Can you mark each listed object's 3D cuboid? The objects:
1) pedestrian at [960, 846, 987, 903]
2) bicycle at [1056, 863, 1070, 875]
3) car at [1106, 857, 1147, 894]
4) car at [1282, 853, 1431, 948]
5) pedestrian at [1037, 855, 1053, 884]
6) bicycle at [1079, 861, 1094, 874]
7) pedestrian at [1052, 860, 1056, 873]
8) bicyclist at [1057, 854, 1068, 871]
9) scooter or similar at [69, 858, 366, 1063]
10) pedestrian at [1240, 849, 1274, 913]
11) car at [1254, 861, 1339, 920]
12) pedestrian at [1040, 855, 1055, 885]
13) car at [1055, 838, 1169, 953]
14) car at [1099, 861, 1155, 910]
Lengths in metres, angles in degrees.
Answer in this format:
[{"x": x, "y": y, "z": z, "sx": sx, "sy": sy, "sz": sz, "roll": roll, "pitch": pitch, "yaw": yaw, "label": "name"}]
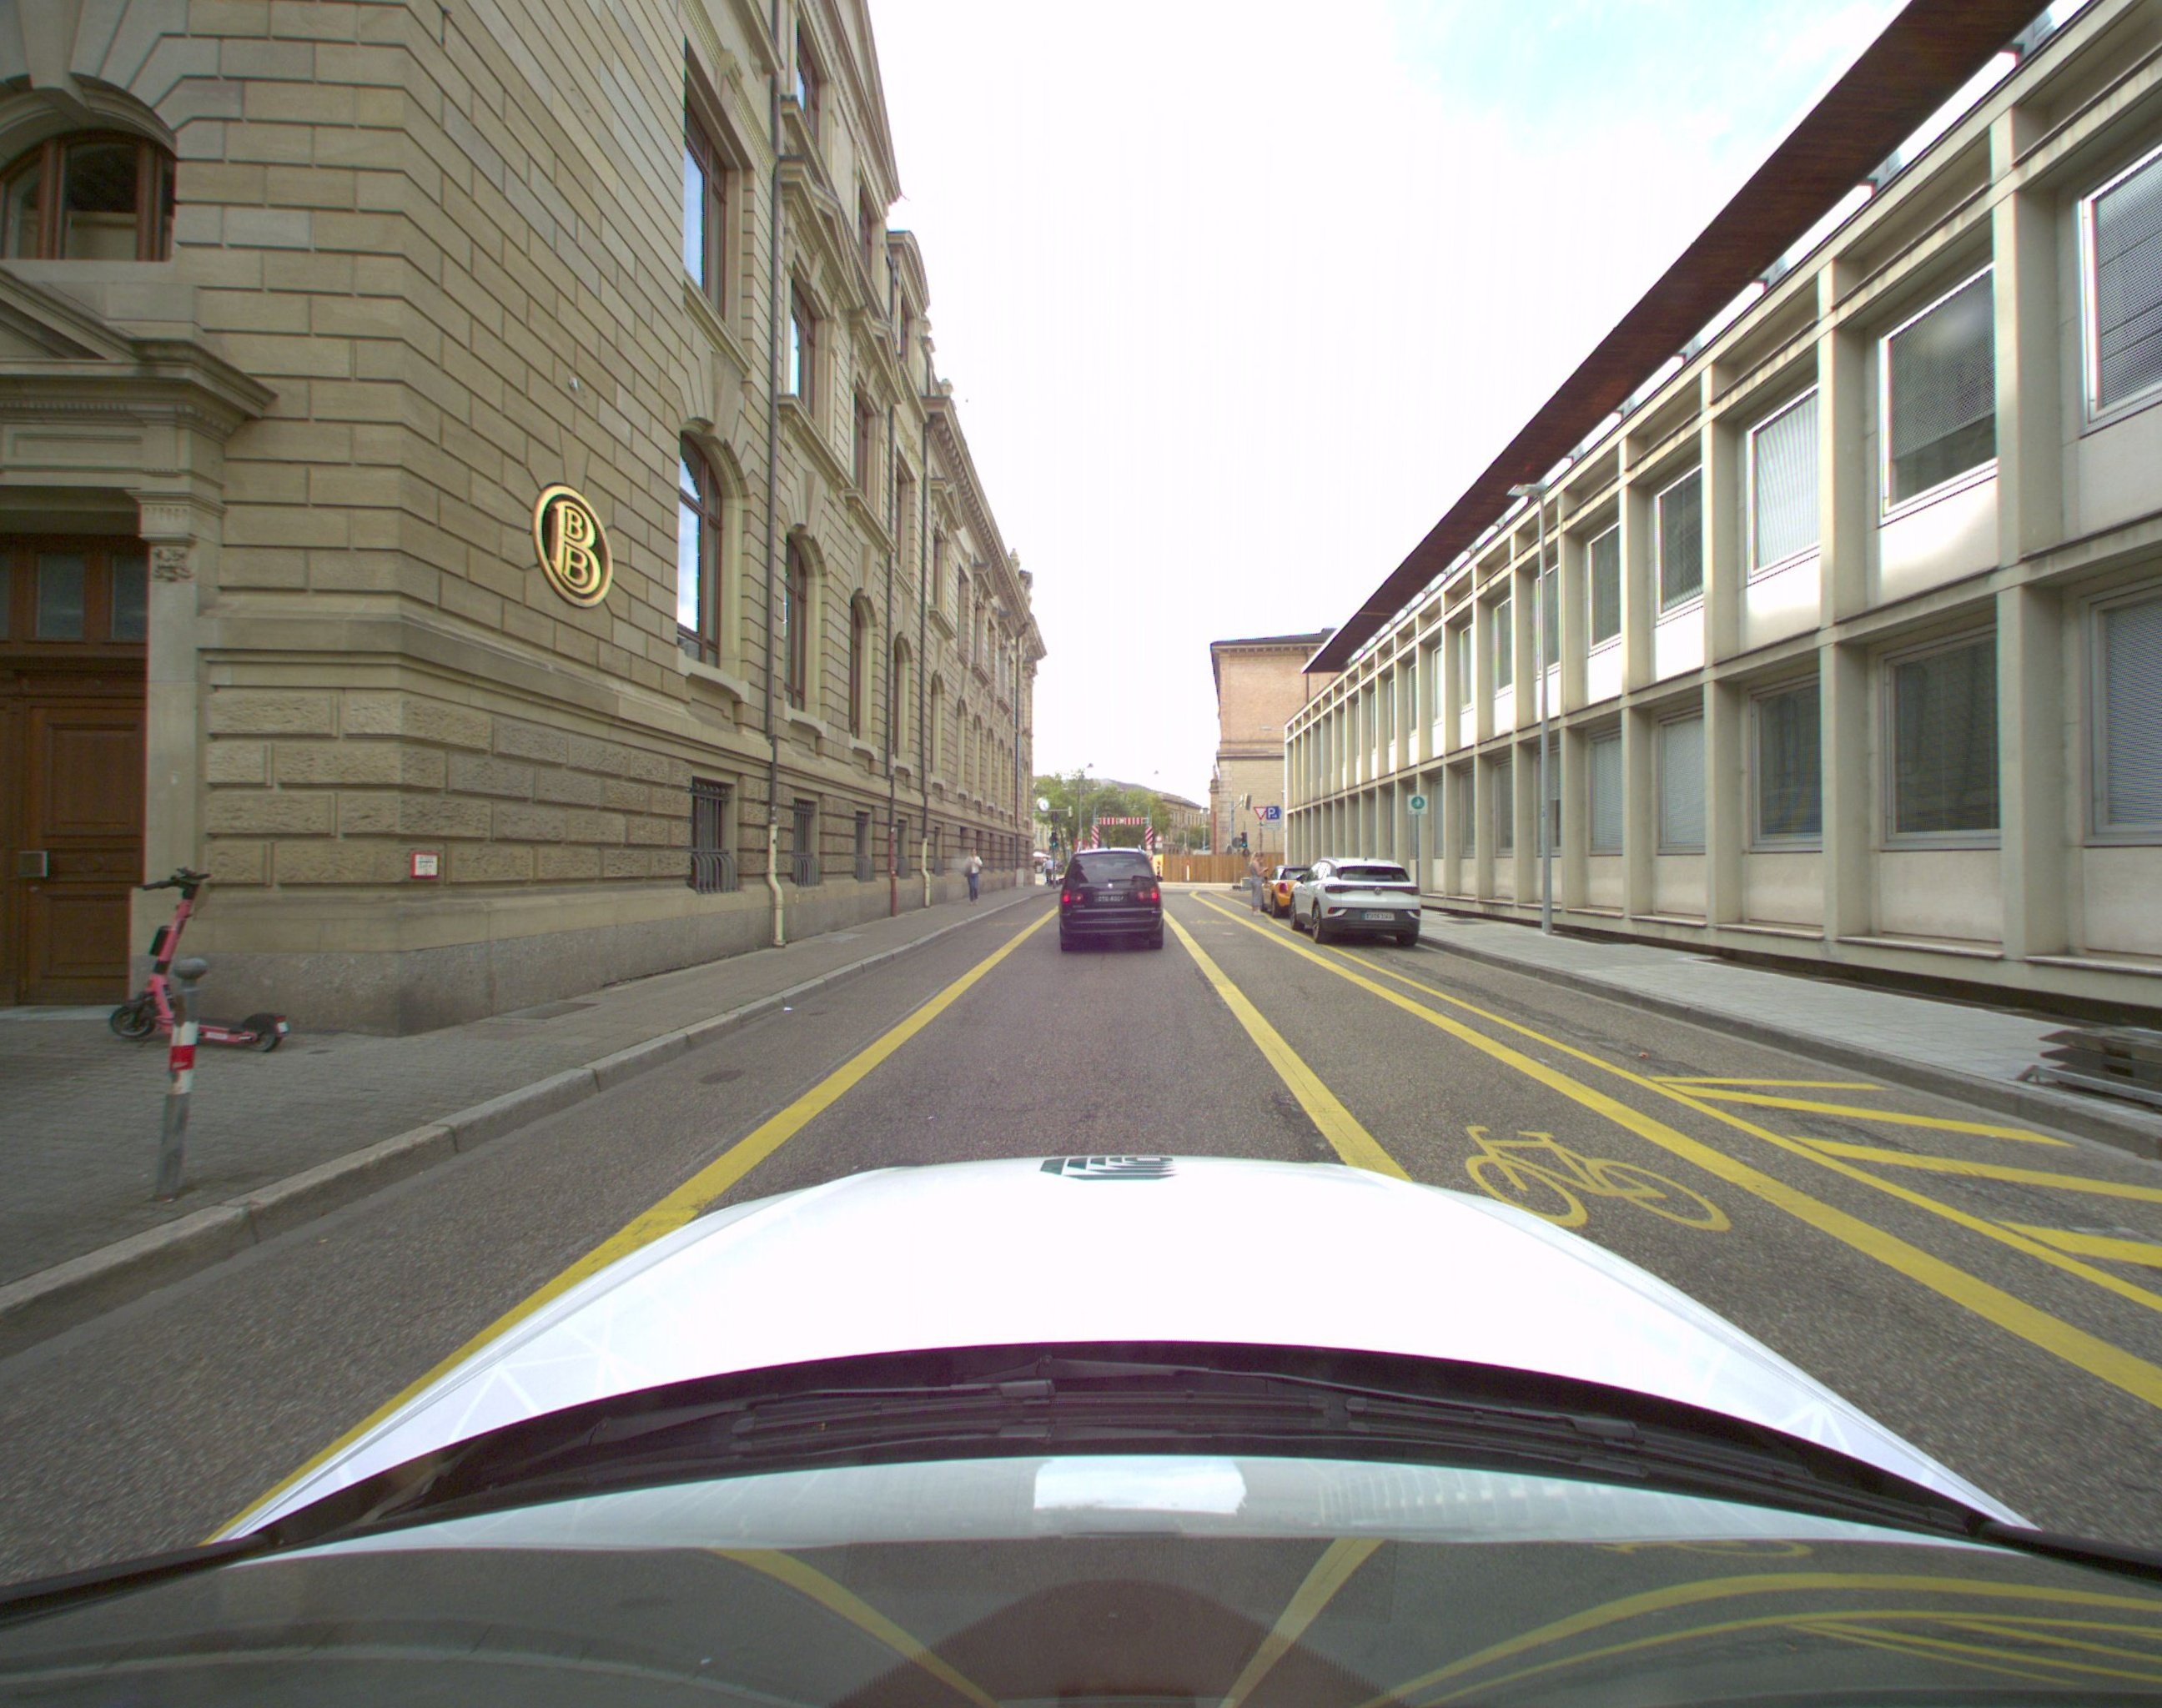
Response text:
[{"x": -3.514, "y": 0.667, "z": 26.661, "sx": 0.661, "sy": 1.820, "sz": 1.048, "roll": 2, "pitch": -1, "yaw": 2, "label": "pedestrian"}, {"x": -1.636, "y": 1.331, "z": 72.181, "sx": 0.736, "sy": 1.009, "sz": 2.057, "roll": 0, "pitch": -1, "yaw": -16, "label": "bicycle"}, {"x": 2.079, "y": 0.963, "z": 37.609, "sx": 1.766, "sy": 1.586, "sz": 4.002, "roll": 0, "pitch": -1, "yaw": 2, "label": "car"}, {"x": 5.382, "y": 0.834, "z": 16.528, "sx": 1.851, "sy": 1.605, "sz": 4.518, "roll": 1, "pitch": 0, "yaw": 5, "label": "car"}, {"x": -2.364, "y": 1.007, "z": 53.143, "sx": 0.793, "sy": 1.820, "sz": 1.042, "roll": 2, "pitch": -1, "yaw": -16, "label": "pedestrian"}, {"x": 0.437, "y": 1.094, "z": 64.736, "sx": 0.736, "sy": 1.009, "sz": 2.059, "roll": 0, "pitch": -1, "yaw": -13, "label": "bicycle"}, {"x": -4.159, "y": 1.934, "z": 124.854, "sx": 0.586, "sy": 2.014, "sz": 0.683, "roll": 0, "pitch": -1, "yaw": -14, "label": "pedestrian"}, {"x": -1.645, "y": 0.748, "z": 72.215, "sx": 0.737, "sy": 1.470, "sz": 0.804, "roll": 0, "pitch": -1, "yaw": -17, "label": "bicyclist"}, {"x": -6.115, "y": 0.720, "z": 5.815, "sx": 1.441, "sy": 1.310, "sz": 0.587, "roll": 3, "pitch": 0, "yaw": 1, "label": "scooter or similar"}, {"x": 4.914, "y": 0.749, "z": 22.729, "sx": 0.691, "sy": 1.764, "sz": 0.710, "roll": -1, "pitch": -1, "yaw": 35, "label": "pedestrian"}, {"x": 6.009, "y": 0.970, "z": 23.093, "sx": 1.672, "sy": 1.435, "sz": 3.892, "roll": 3, "pitch": -1, "yaw": 5, "label": "car"}, {"x": -2.046, "y": 1.004, "z": 50.154, "sx": 0.789, "sy": 1.820, "sz": 1.048, "roll": 2, "pitch": -1, "yaw": 2, "label": "pedestrian"}, {"x": 0.669, "y": 0.701, "z": 15.046, "sx": 1.781, "sy": 1.790, "sz": 4.108, "roll": -2, "pitch": -1, "yaw": 5, "label": "car"}, {"x": 1.559, "y": 0.979, "z": 26.710, "sx": 1.670, "sy": 1.469, "sz": 4.108, "roll": 0, "pitch": -1, "yaw": 5, "label": "car"}]
